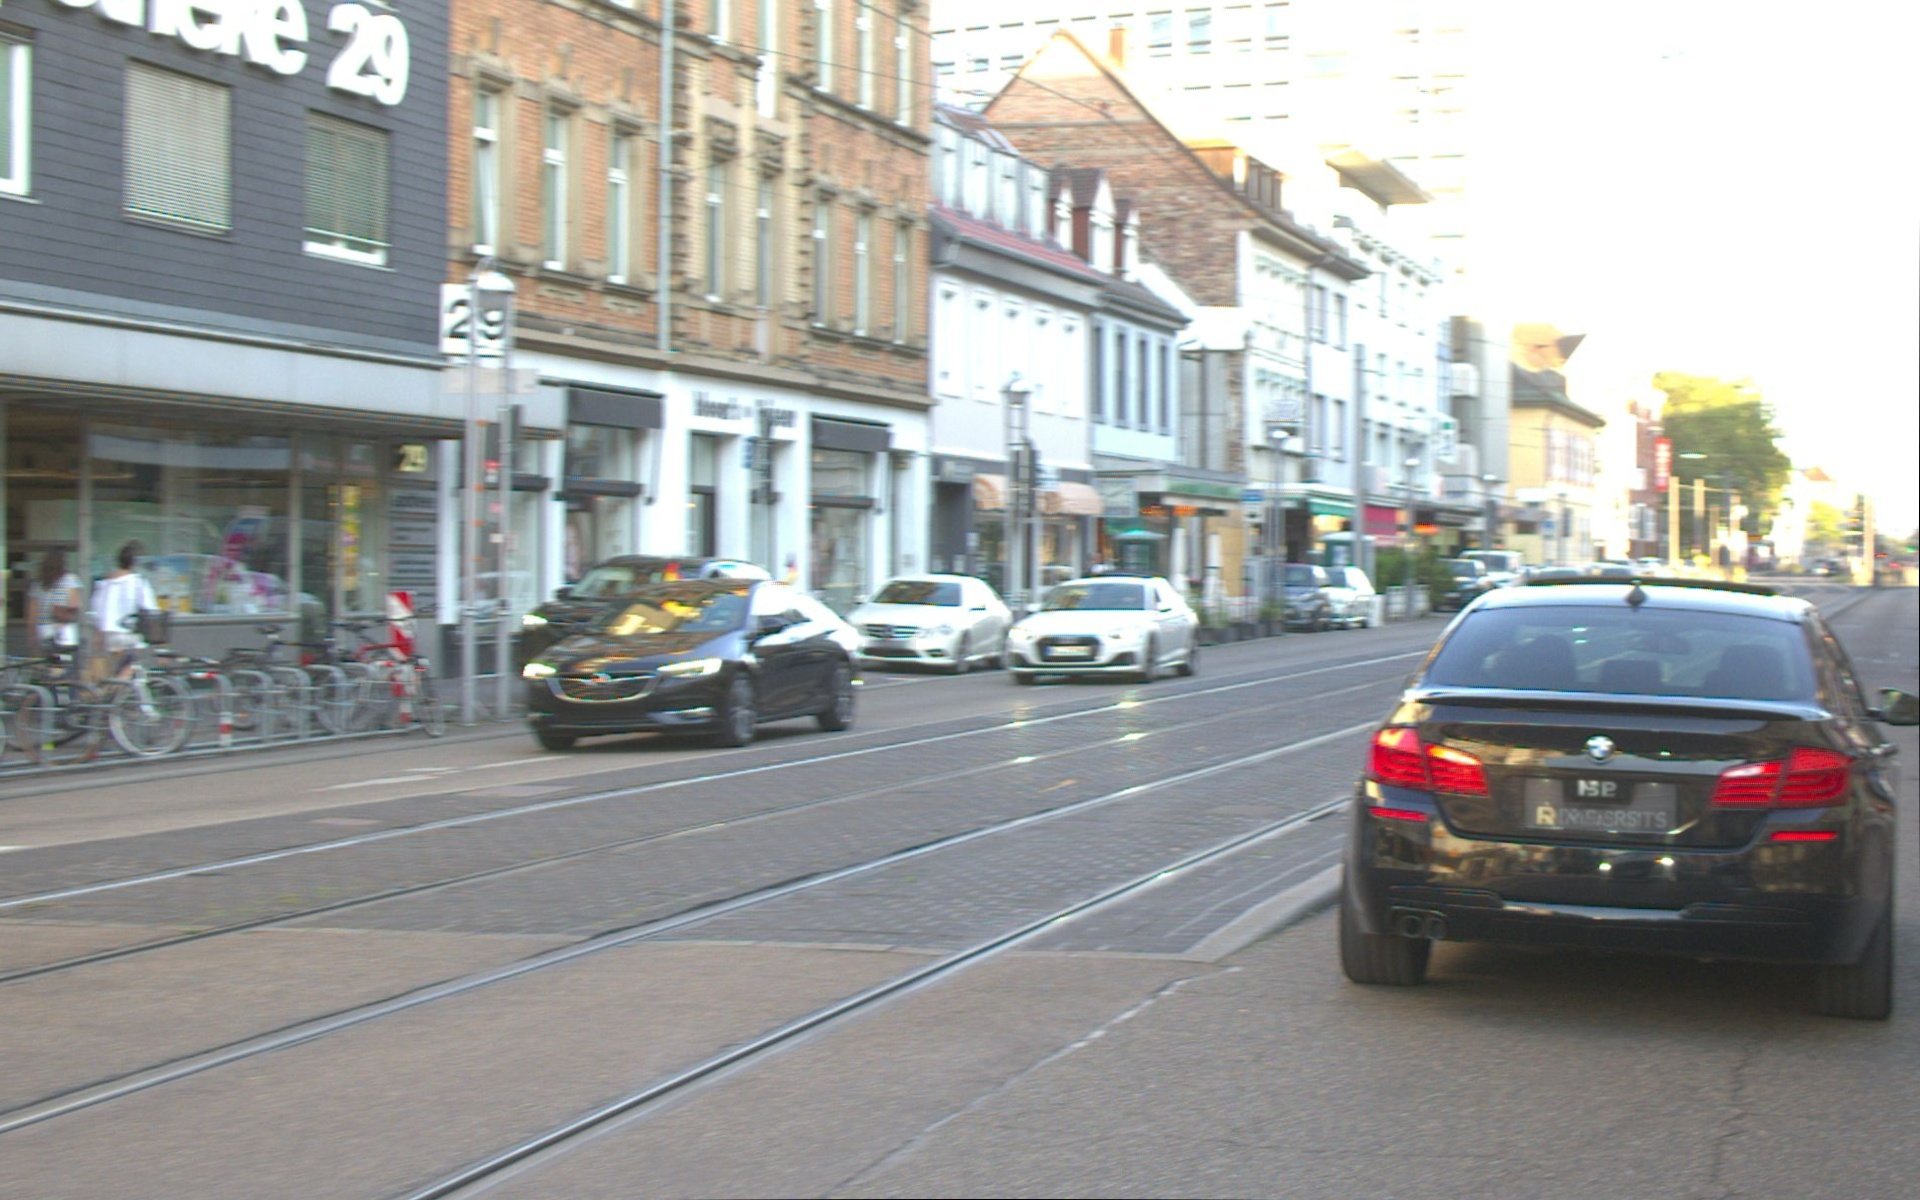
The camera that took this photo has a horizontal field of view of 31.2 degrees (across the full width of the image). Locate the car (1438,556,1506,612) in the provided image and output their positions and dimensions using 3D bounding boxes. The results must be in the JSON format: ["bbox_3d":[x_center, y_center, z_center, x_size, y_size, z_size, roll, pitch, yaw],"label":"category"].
[{"bbox_3d":[15.989,-0.494,107.270,1.867,1.679,3.998,1,1,12],"label":"car"}]

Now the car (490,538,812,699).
[{"bbox_3d":[-3.429,0.163,39.181,1.932,1.669,4.642,2,1,18],"label":"car"}]

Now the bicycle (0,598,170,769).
[{"bbox_3d":[-7.222,0.617,26.610,2.114,1.220,0.553,3,1,16],"label":"bicycle"}]

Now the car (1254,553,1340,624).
[{"bbox_3d":[7.593,-0.263,77.319,1.478,1.572,2.793,0,0,15],"label":"car"}]

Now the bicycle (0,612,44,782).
[{"bbox_3d":[-7.726,0.661,25.210,1.892,1.207,0.553,3,1,16],"label":"bicycle"}]

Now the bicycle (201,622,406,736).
[{"bbox_3d":[-5.998,0.714,31.393,1.806,0.909,0.455,3,3,16],"label":"bicycle"}]

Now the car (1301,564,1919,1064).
[{"bbox_3d":[2.644,0.673,13.020,1.955,1.493,4.461,2,0,15],"label":"car"}]

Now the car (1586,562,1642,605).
[{"bbox_3d":[22.912,-0.593,120.318,1.692,1.448,4.462,1,1,13],"label":"car"}]

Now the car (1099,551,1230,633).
[{"bbox_3d":[3.898,-0.179,65.024,1.599,1.435,3.809,2,2,17],"label":"car"}]

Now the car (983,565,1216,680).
[{"bbox_3d":[1.939,0.264,46.134,1.995,1.448,4.652,1,1,17],"label":"car"}]

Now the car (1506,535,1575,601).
[{"bbox_3d":[19.424,-1.080,114.864,1.995,2.149,4.908,1,1,13],"label":"car"}]

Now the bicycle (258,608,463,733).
[{"bbox_3d":[-5.606,0.651,32.155,1.832,1.043,0.489,3,3,16],"label":"bicycle"}]

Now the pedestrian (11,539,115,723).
[{"bbox_3d":[-8.213,0.274,31.487,0.683,1.655,0.624,1,1,16],"label":"pedestrian"}]

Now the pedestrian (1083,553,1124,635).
[{"bbox_3d":[2.920,-0.131,69.831,0.663,1.638,0.694,1,1,17],"label":"pedestrian"}]

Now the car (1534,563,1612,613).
[{"bbox_3d":[18.291,-0.377,102.466,1.995,1.448,4.646,1,1,14],"label":"car"}]

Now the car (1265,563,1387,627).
[{"bbox_3d":[8.781,-0.135,82.102,1.995,1.448,4.818,1,1,17],"label":"car"}]

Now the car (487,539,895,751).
[{"bbox_3d":[-2.285,0.362,30.685,1.995,1.721,4.723,-1,0,17],"label":"car"}]

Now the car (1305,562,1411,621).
[{"bbox_3d":[10.112,-0.224,87.042,1.995,1.448,4.326,1,1,16],"label":"car"}]

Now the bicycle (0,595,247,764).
[{"bbox_3d":[-6.882,0.631,27.887,2.114,1.219,0.553,3,3,16],"label":"bicycle"}]

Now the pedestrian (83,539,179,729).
[{"bbox_3d":[-7.552,0.299,31.320,0.621,1.693,0.602,1,1,16],"label":"pedestrian"}]

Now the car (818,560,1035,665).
[{"bbox_3d":[-0.430,0.159,50.433,1.870,1.448,4.606,1,1,17],"label":"car"}]
